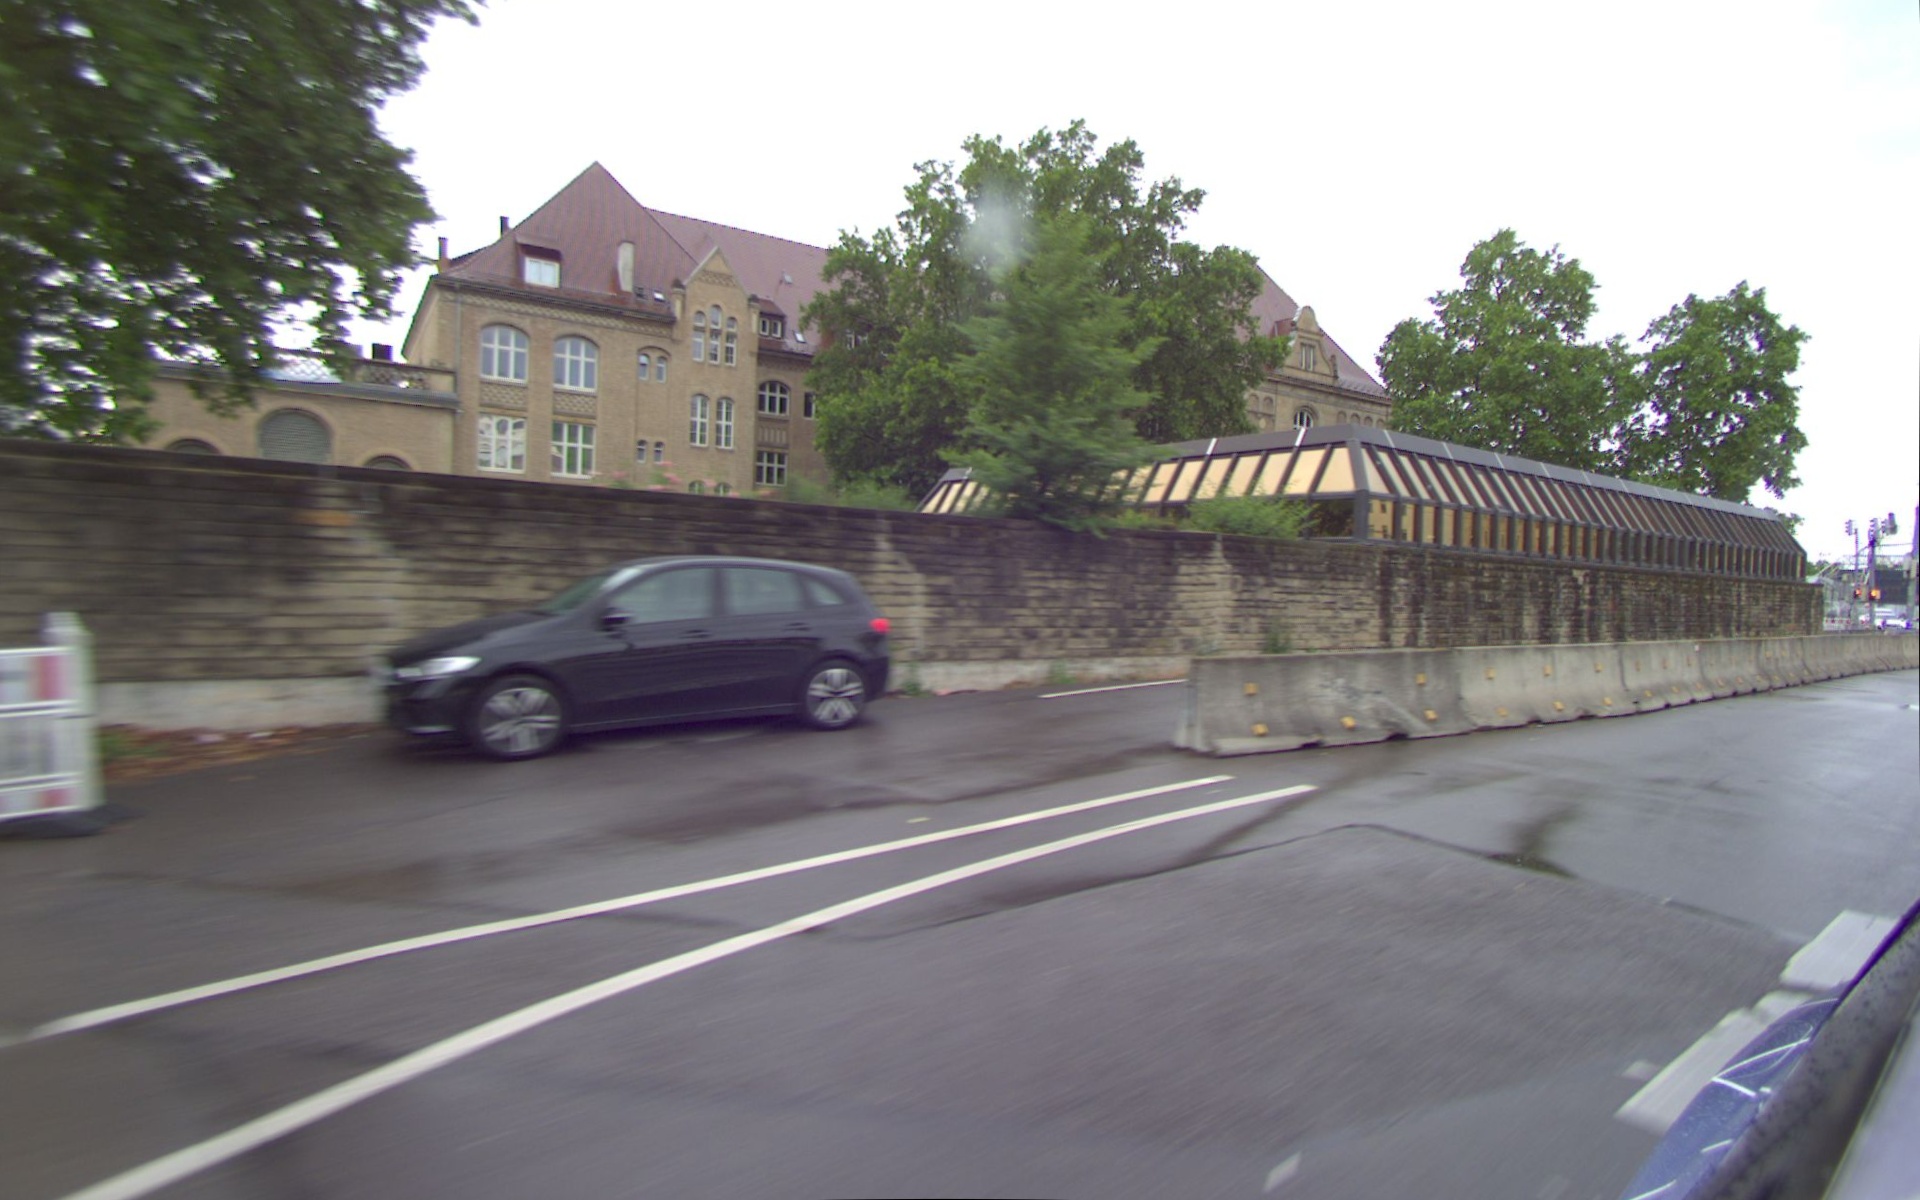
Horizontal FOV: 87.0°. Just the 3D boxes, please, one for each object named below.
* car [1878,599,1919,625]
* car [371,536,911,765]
[{"bbox_3d":[75.252,0.939,80.828,1.983,2.039,4.375,0,0,30],"label":"car"},{"bbox_3d":[-2.733,0.295,8.985,4.242,1.570,1.812,0,4,-33],"label":"car"}]
